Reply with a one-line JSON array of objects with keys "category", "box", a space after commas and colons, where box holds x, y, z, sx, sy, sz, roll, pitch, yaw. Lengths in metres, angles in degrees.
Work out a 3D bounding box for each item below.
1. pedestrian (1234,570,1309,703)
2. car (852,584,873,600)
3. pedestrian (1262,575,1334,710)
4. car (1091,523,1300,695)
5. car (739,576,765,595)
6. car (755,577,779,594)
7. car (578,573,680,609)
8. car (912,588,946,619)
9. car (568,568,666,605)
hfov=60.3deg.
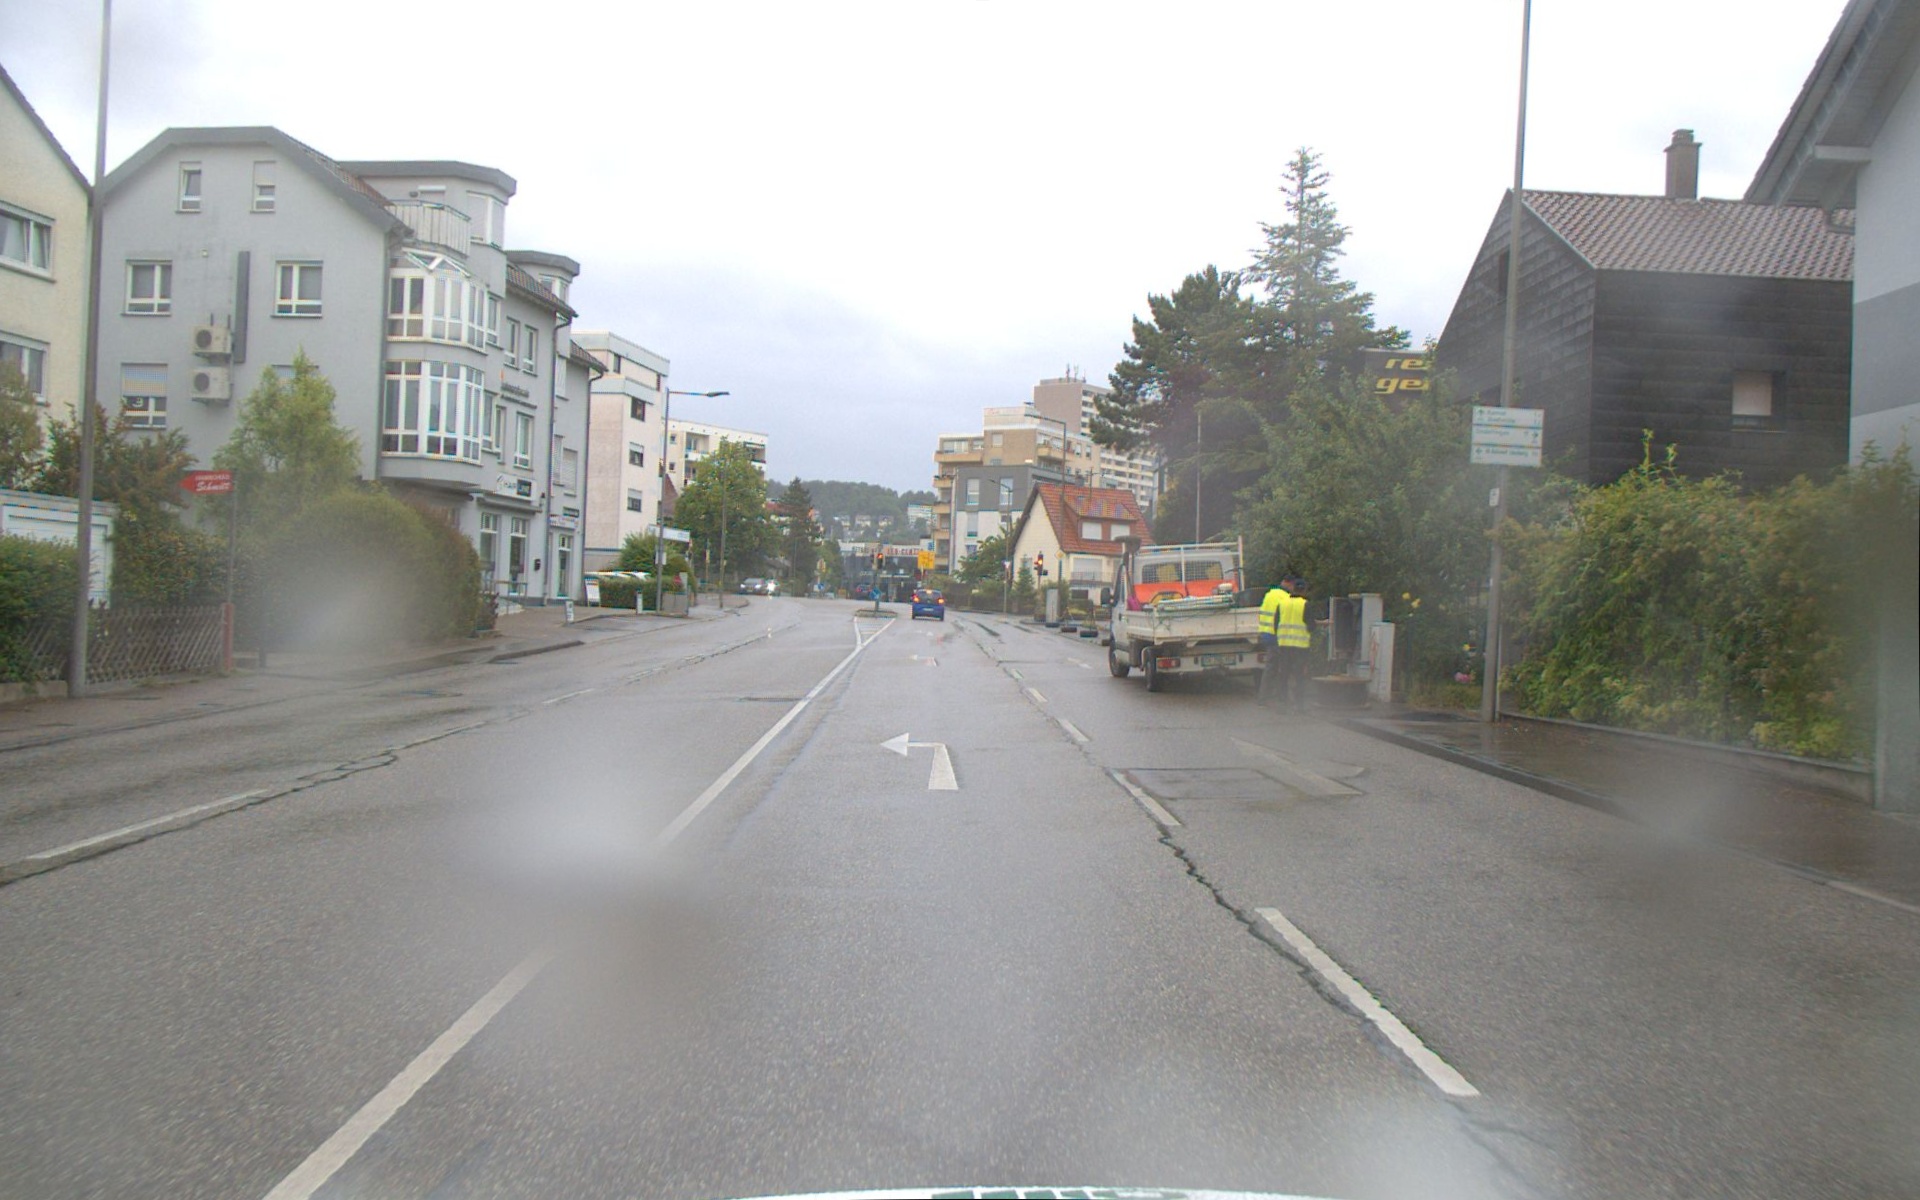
[{"category": "pedestrian", "box": [4.193, 0.477, 22.294, 0.696, 1.737, 0.889, -1, 1, -12]}, {"category": "car", "box": [-9.104, -0.756, 154.597, 1.776, 1.512, 4.188, 1, 0, -1]}, {"category": "pedestrian", "box": [4.338, 0.529, 21.275, 0.565, 1.693, 0.941, -1, 1, -12]}, {"category": "car", "box": [3.671, 0.104, 27.221, 2.343, 2.474, 6.431, 1, 0, -2]}, {"category": "car", "box": [-17.439, -1.225, 138.653, 1.743, 1.445, 3.830, 2, 0, -1]}, {"category": "car", "box": [-17.023, -1.312, 145.804, 1.680, 1.411, 4.019, 2, 0, -1]}, {"category": "car", "box": [-14.996, -0.417, 75.094, 4.130, 1.499, 1.905, 2, 0, 4]}, {"category": "car", "box": [-1.514, 0.158, 81.192, 1.547, 1.435, 3.269, 3, 0, -1]}, {"category": "car", "box": [-17.112, -0.672, 82.586, 4.356, 1.665, 1.941, 2, 0, 9]}]
